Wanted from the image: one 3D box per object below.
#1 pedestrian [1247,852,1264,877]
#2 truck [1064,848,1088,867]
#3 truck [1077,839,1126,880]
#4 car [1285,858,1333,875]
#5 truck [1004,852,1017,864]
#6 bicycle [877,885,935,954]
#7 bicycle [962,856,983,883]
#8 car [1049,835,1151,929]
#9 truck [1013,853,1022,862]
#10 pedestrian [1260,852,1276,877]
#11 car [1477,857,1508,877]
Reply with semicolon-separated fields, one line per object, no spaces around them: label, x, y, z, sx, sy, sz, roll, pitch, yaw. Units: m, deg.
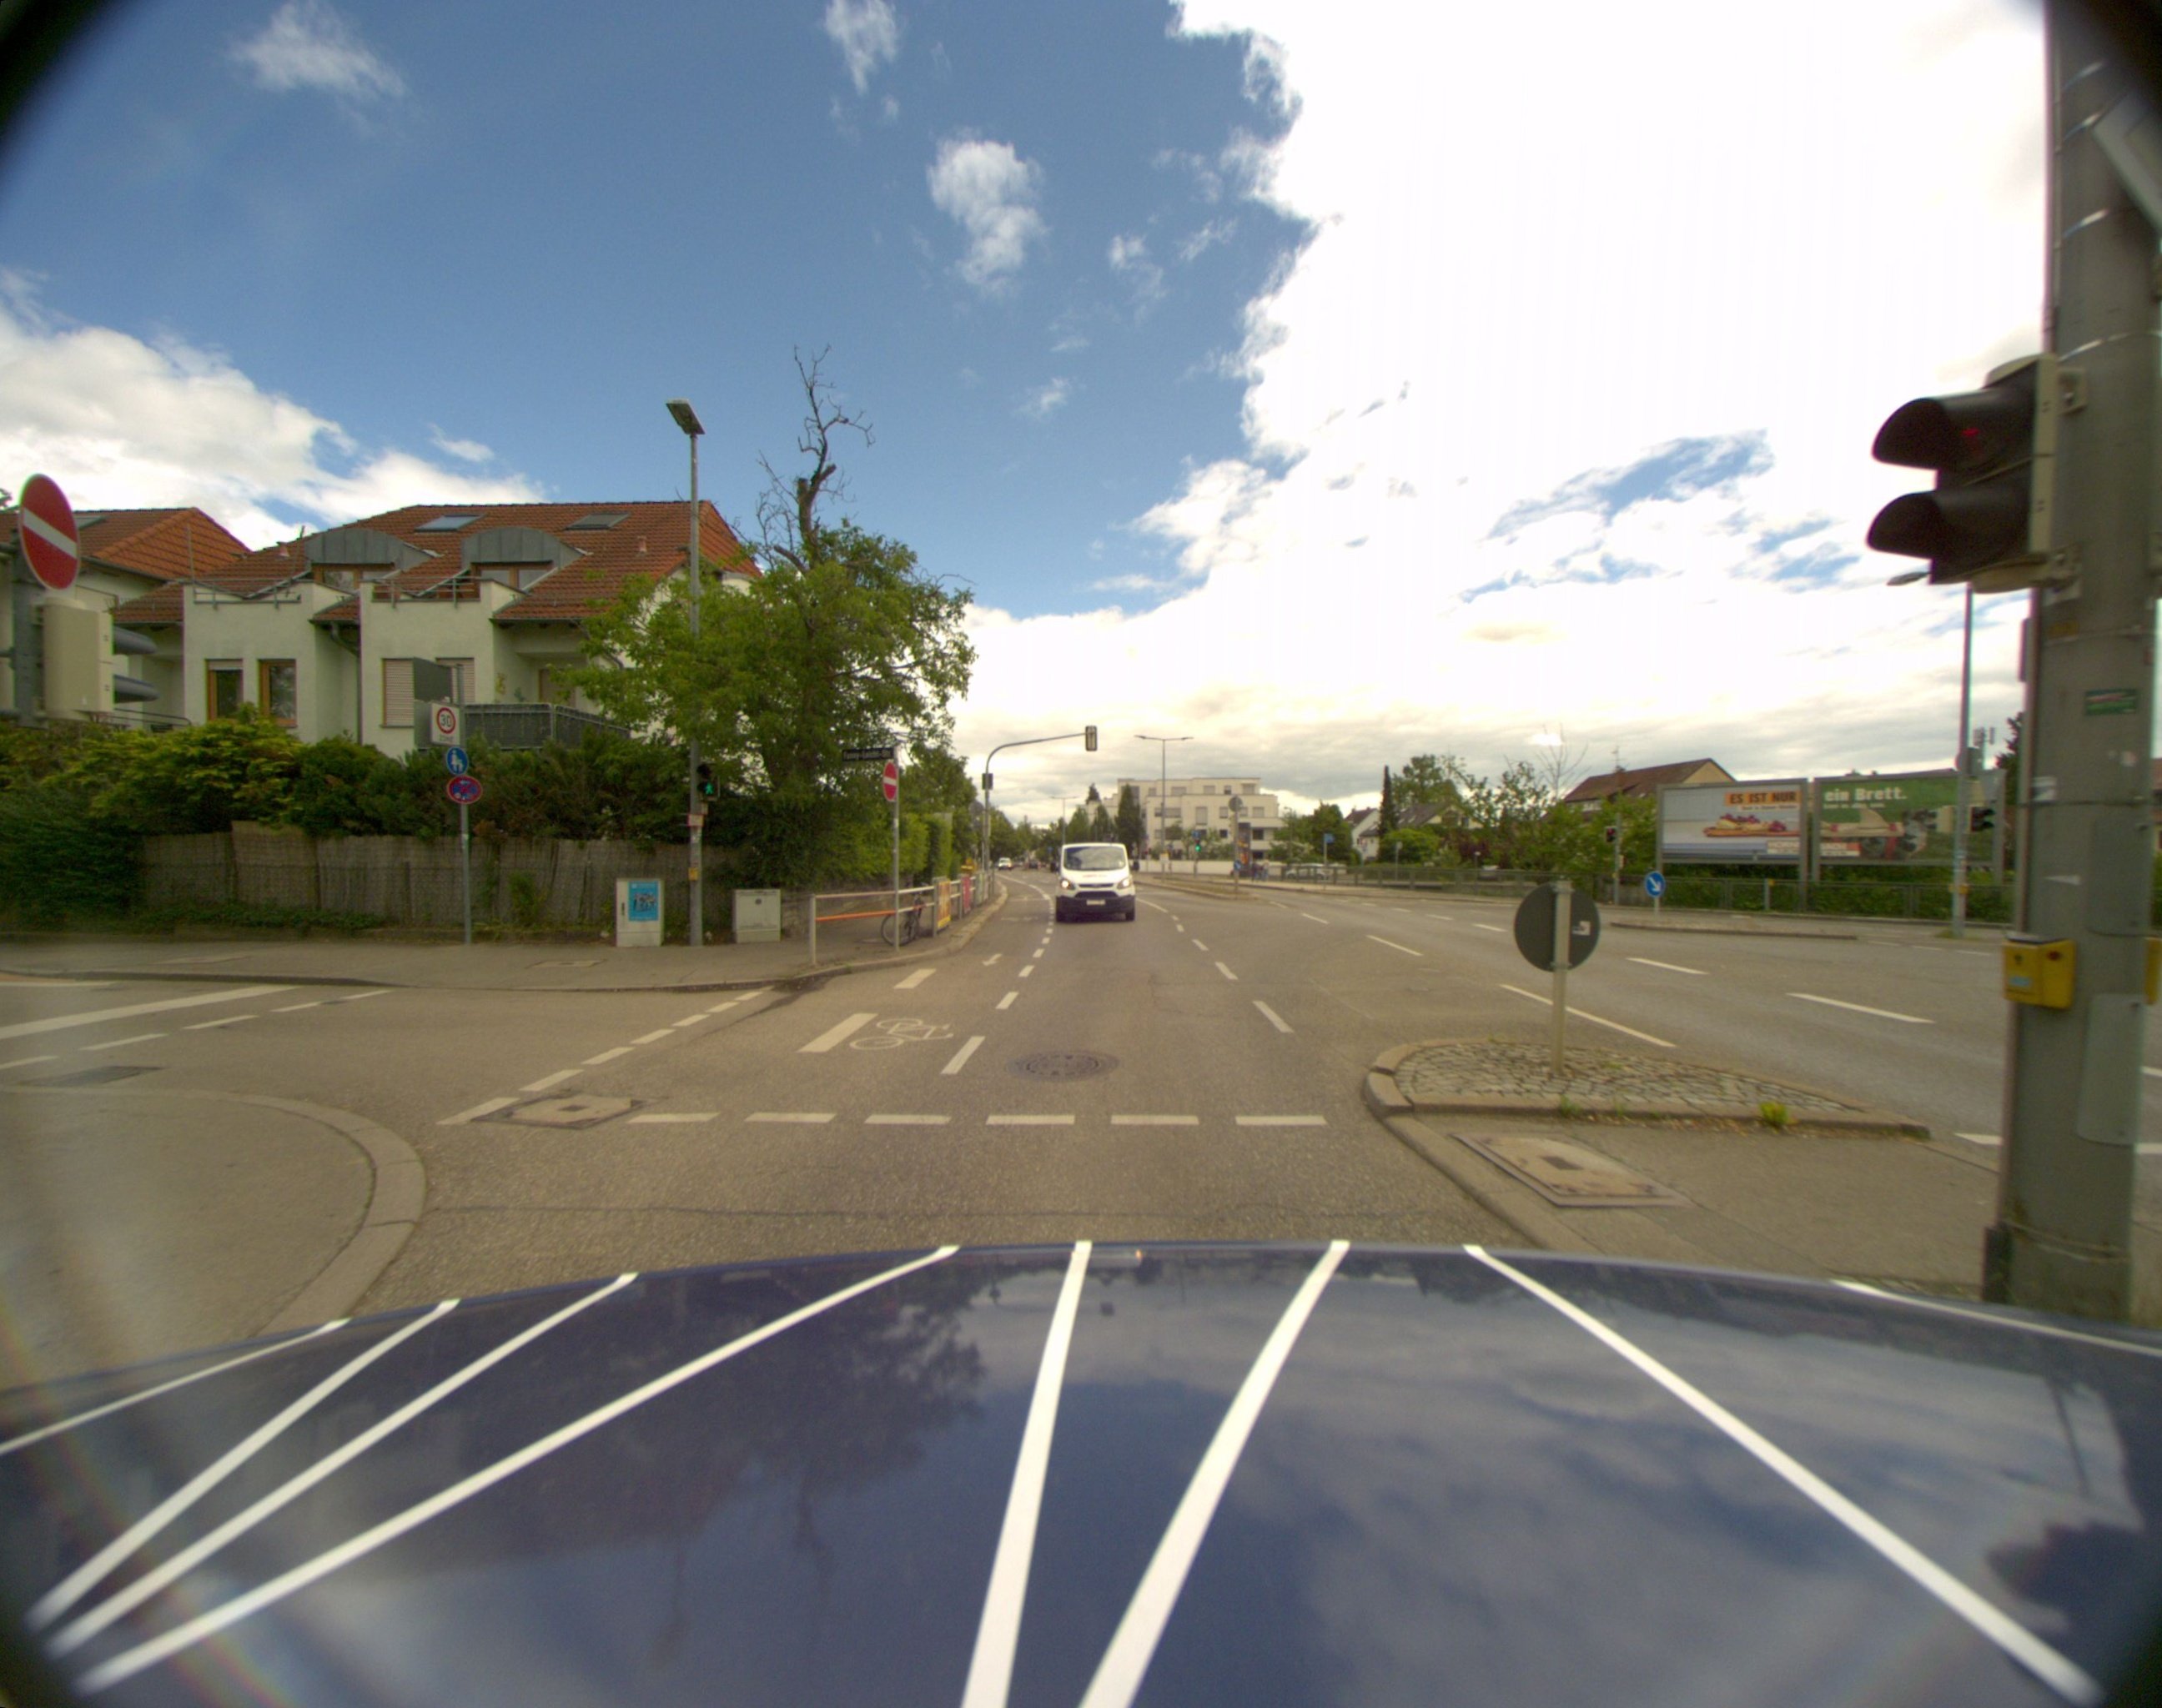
pedestrian;11.495;0.679;50.081;0.658;1.624;1.069;-2;1;-15
truck;-0.688;0.368;94.629;2.132;2.251;6.799;0;1;-8
truck;1.272;0.326;51.101;2.038;2.555;6.051;0;0;-11
car;22.124;1.197;73.655;4.117;1.526;1.651;1;1;36
truck;-10.123;0.582;109.102;1.615;1.780;3.999;0;0;-2
bicycle;-2.989;1.094;13.105;0.629;1.022;1.504;-1;1;-1
bicycle;-6.444;0.914;45.307;0.894;1.501;2.782;3;0;-3
car;0.314;0.617;19.885;2.076;1.956;5.555;-5;1;-3
truck;-11.277;0.562;135.482;1.619;1.649;3.998;0;0;-4
pedestrian;12.329;0.666;50.197;0.658;1.624;0.832;-2;1;-15
car;39.424;1.209;72.739;1.782;1.572;4.007;-3;1;40
